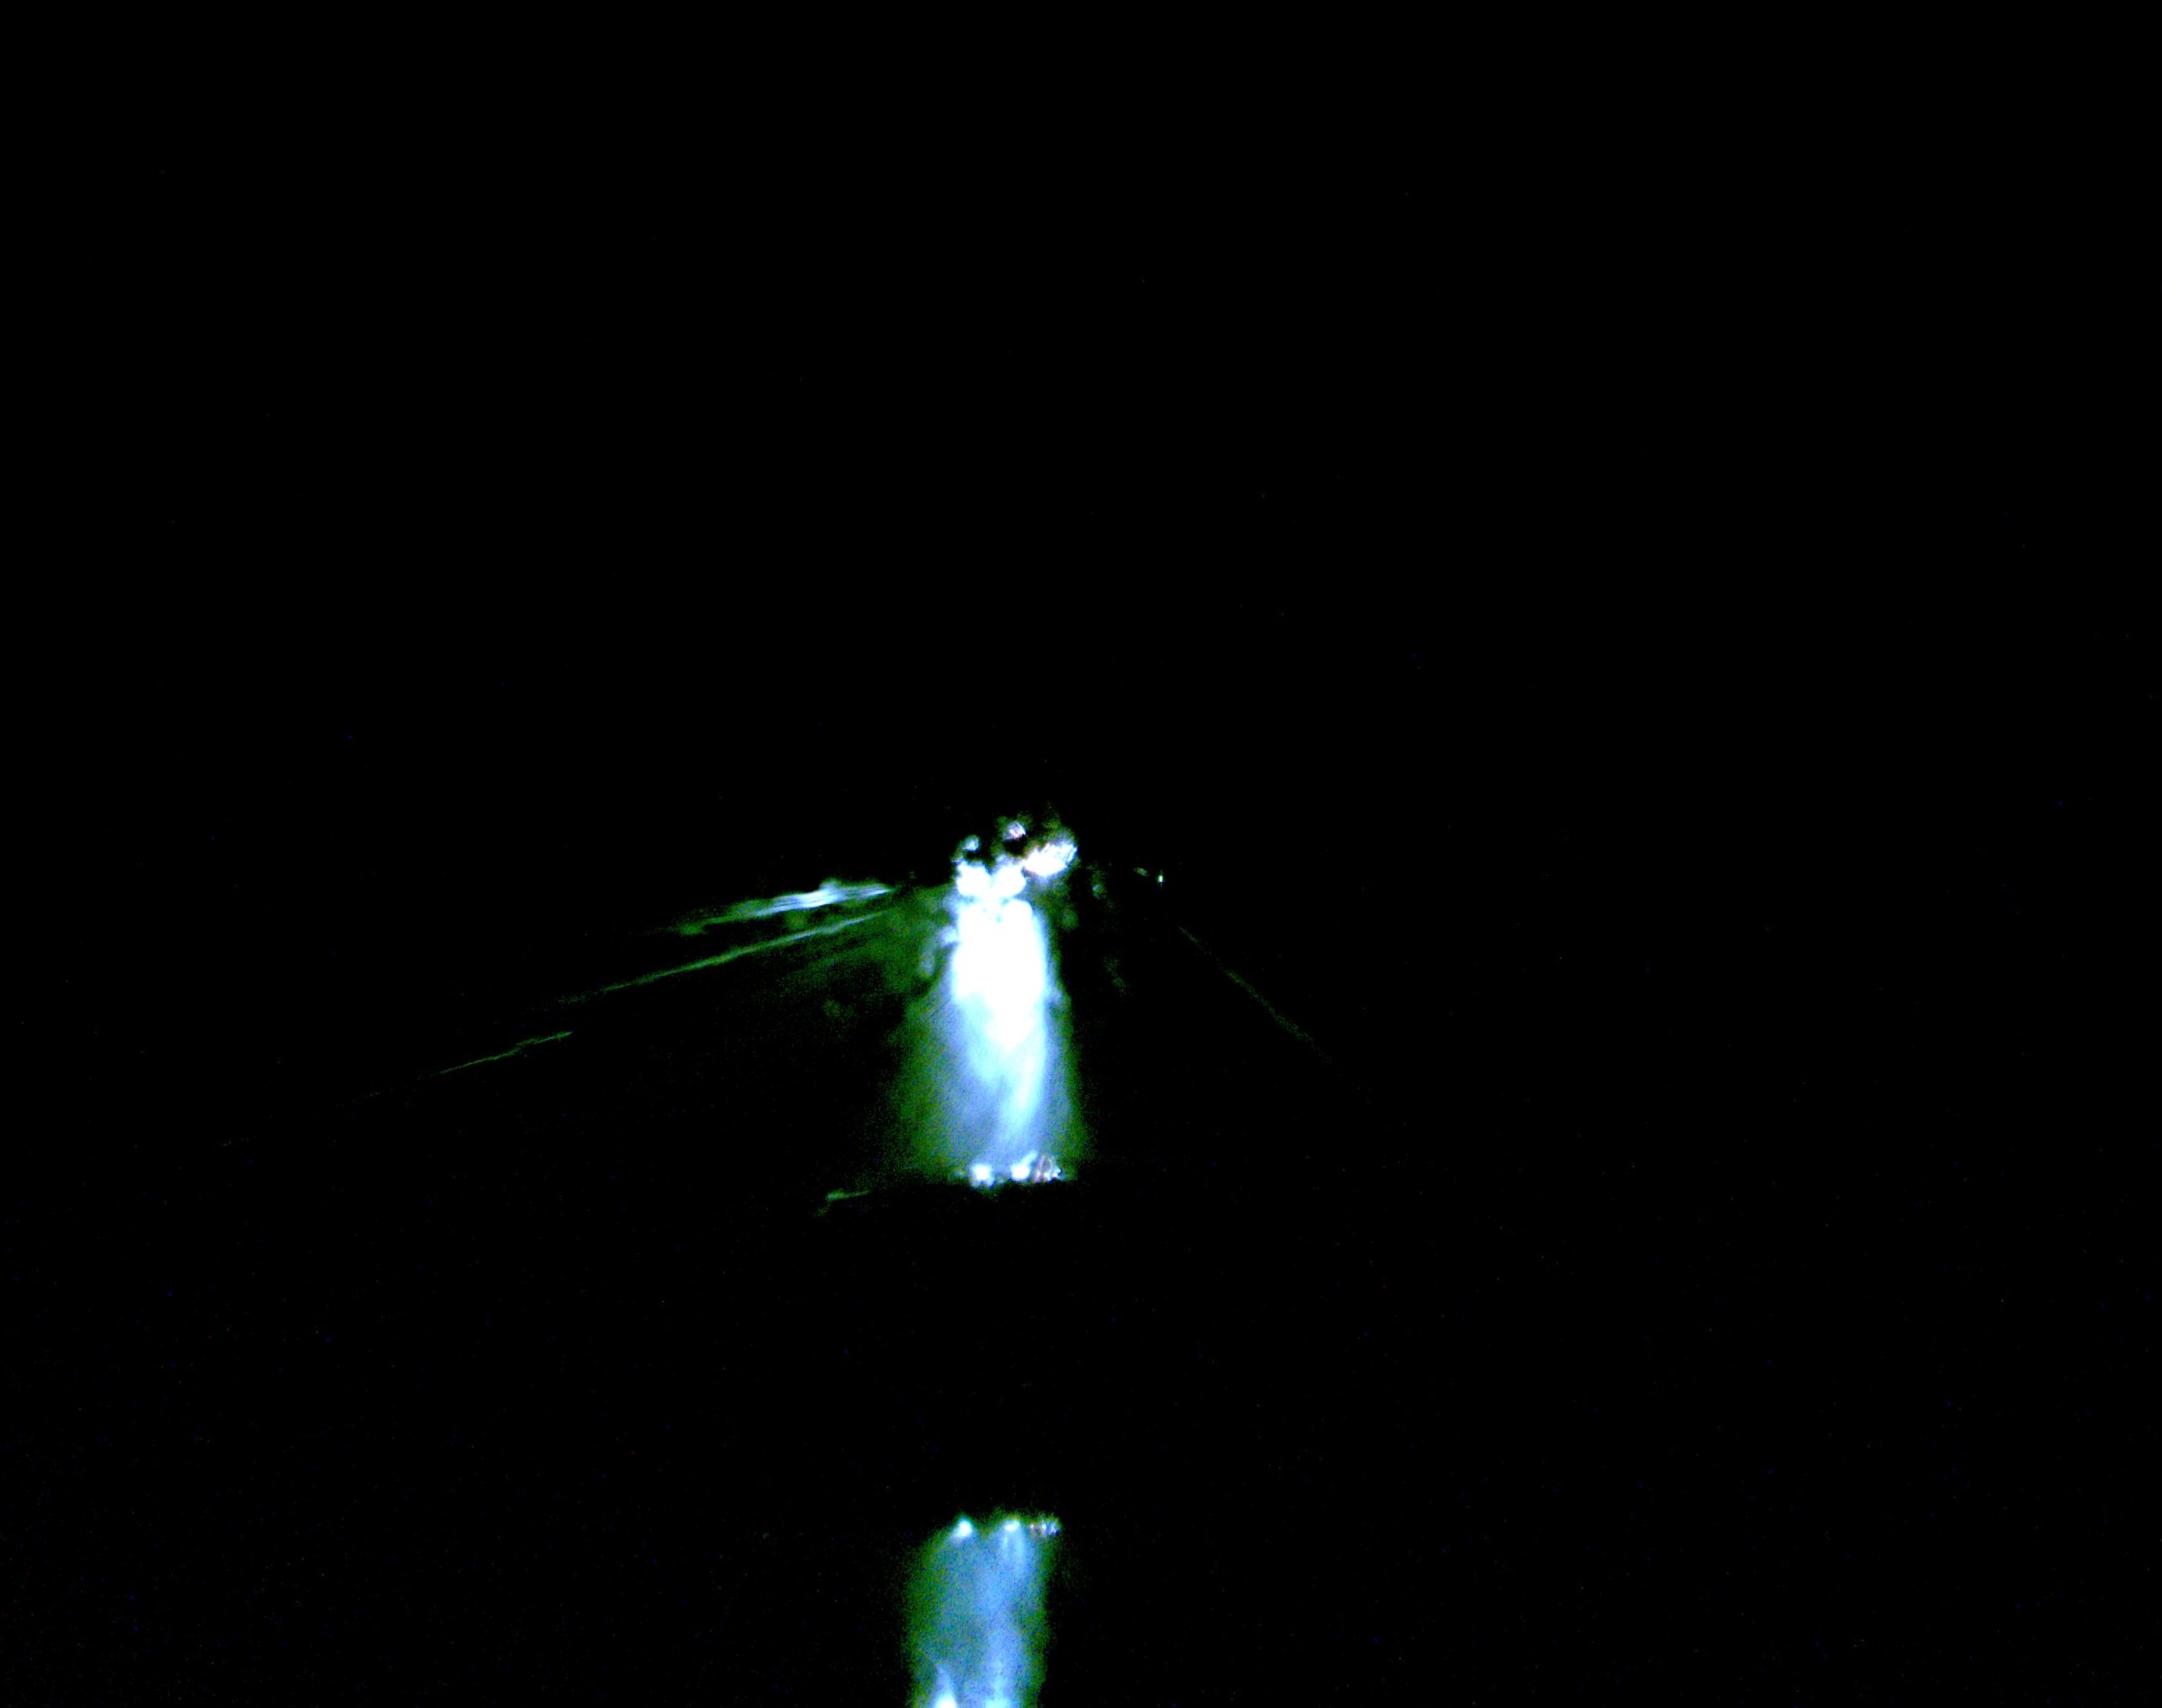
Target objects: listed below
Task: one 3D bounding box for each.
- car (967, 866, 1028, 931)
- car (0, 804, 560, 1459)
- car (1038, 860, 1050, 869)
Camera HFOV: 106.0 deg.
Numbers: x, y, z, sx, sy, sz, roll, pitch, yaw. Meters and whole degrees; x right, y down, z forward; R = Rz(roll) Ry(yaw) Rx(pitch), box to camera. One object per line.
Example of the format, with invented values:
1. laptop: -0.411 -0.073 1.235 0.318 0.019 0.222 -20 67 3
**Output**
1. car: -2.895 1.495 29.005 1.990 2.013 3.995 -1 1 -4
2. car: -3.571 0.681 1.795 1.919 1.574 4.349 -1 1 2
3. car: -6.437 1.879 143.621 1.988 1.500 3.998 -1 1 -1
